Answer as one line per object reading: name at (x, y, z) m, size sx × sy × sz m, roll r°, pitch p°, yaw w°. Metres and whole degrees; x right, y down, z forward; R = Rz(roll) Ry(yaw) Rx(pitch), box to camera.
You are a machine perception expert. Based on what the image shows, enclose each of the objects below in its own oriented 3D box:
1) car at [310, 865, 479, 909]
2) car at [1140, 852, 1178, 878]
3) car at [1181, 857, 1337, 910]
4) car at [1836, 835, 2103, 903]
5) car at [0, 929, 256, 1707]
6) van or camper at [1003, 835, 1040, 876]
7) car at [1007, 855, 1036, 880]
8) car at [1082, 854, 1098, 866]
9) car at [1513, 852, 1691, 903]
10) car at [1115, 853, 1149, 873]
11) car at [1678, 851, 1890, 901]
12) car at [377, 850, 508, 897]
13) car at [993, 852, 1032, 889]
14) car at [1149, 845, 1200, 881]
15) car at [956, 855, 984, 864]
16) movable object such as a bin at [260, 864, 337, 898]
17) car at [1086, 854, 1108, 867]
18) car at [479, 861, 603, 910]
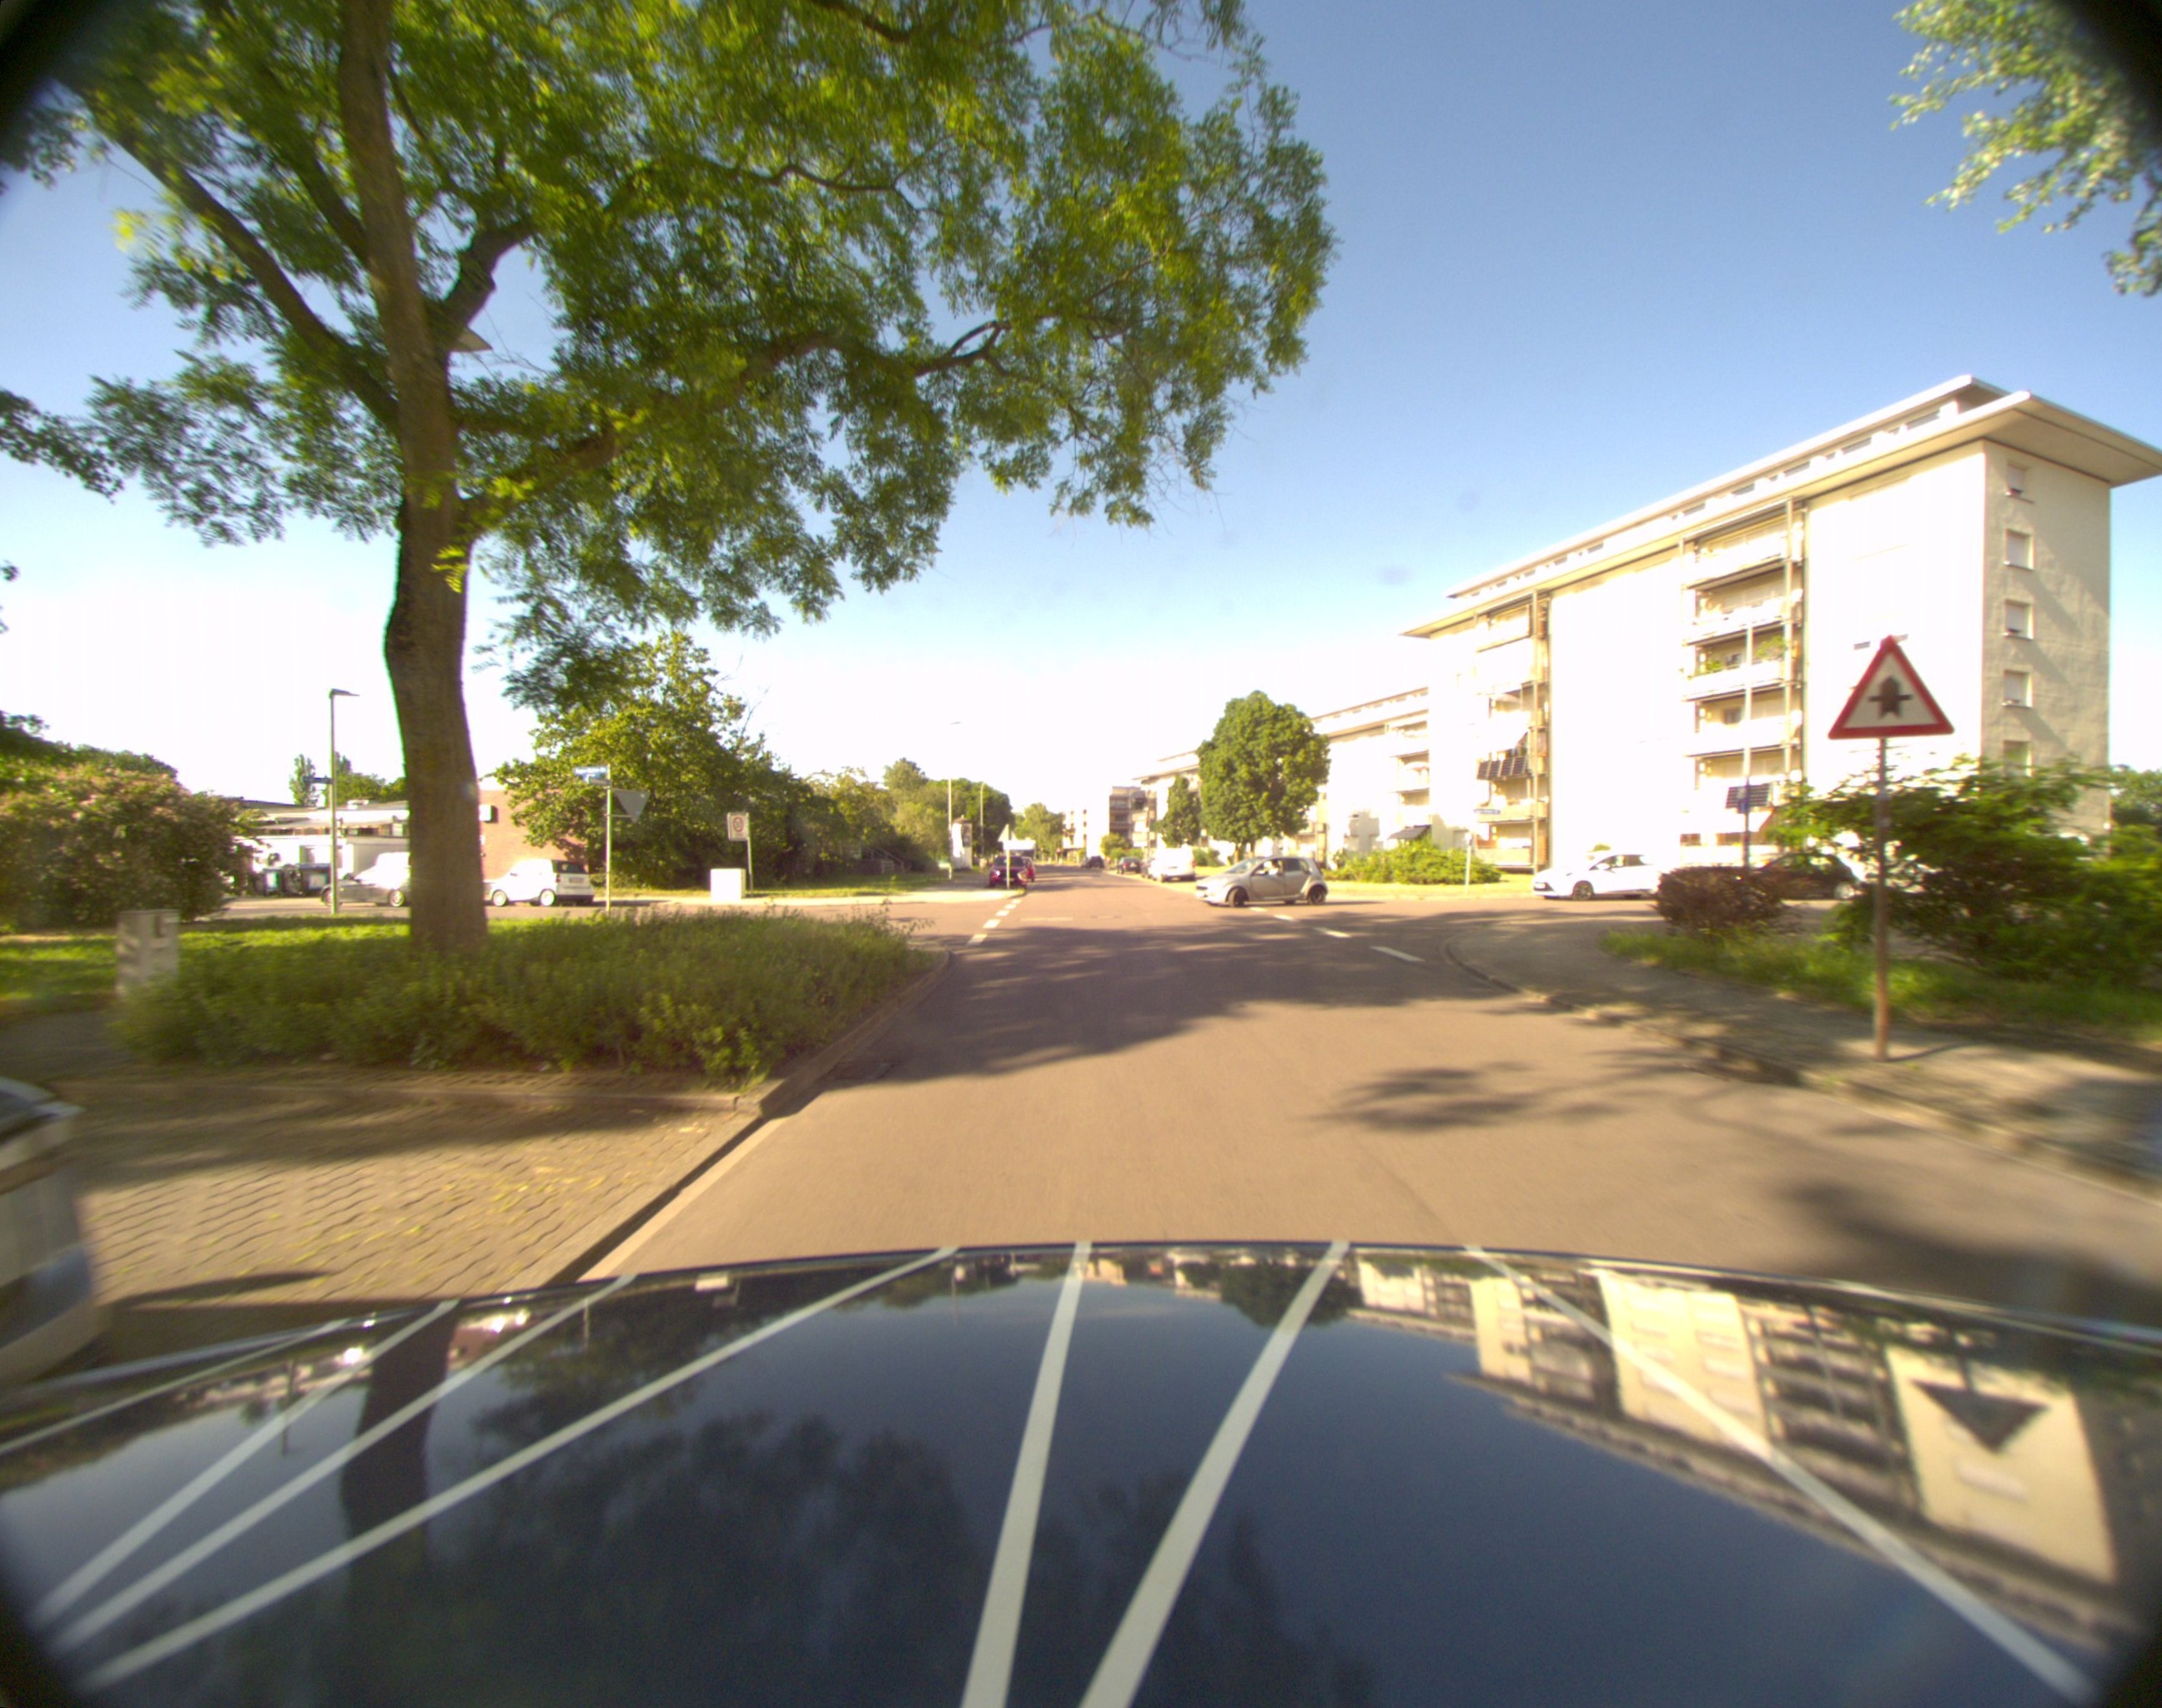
car at (-23.594, 1.114, 26.167) m, size 4.491 × 1.402 × 1.970 m, roll 0°, pitch 0°, yaw 11°
car at (5.047, 0.697, 49.874) m, size 1.838 × 1.509 × 4.220 m, roll -2°, pitch 1°, yaw -3°
car at (5.113, 0.809, 22.070) m, size 3.943 × 1.452 × 1.995 m, roll 0°, pitch 0°, yaw -13°
car at (26.392, 0.419, 22.761) m, size 5.116 × 1.939 × 2.238 m, roll 0°, pitch 0°, yaw 4°
car at (-4.539, 0.978, 0.928) m, size 4.794 × 1.540 × 2.011 m, roll 0°, pitch 0°, yaw -1°
van or camper at (-4.360, 0.083, 55.977) m, size 2.504 × 2.828 × 6.848 m, roll 0°, pitch 0°, yaw -4°
car at (-3.632, 0.821, 47.164) m, size 1.696 × 1.465 × 3.999 m, roll 0°, pitch 0°, yaw -3°
car at (1.129, 0.761, 98.063) m, size 1.651 × 1.458 × 4.328 m, roll -1°, pitch 0°, yaw -6°
car at (15.782, 0.682, 23.209) m, size 3.996 × 1.455 × 2.044 m, roll 0°, pitch 0°, yaw 3°
car at (4.188, 0.698, 63.129) m, size 2.040 × 1.484 × 5.254 m, roll -3°, pitch 0°, yaw -4°
car at (21.235, 0.638, 23.116) m, size 4.452 × 1.452 × 2.044 m, roll 0°, pitch 0°, yaw 3°
car at (-26.864, 0.787, 32.140) m, size 1.696 × 1.858 × 4.004 m, roll 0°, pitch 0°, yaw 12°
car at (-3.402, 0.779, 37.956) m, size 1.780 × 1.670 × 4.642 m, roll 2°, pitch 0°, yaw -5°
car at (5.301, 0.472, 43.814) m, size 2.020 × 1.875 × 5.189 m, roll -2°, pitch 1°, yaw -2°
car at (-17.988, 0.959, 123.208) m, size 4.438 × 1.329 × 1.746 m, roll -1°, pitch -1°, yaw -4°
movable object such as a bin at (-32.973, 1.132, 32.029) m, size 2.563 × 1.365 × 1.242 m, roll 0°, pitch 0°, yaw 18°
car at (1.874, 0.759, 91.823) m, size 1.920 × 1.594 × 4.808 m, roll 0°, pitch 0°, yaw -7°
car at (-17.711, 1.039, 25.005) m, size 2.959 × 1.553 × 1.703 m, roll 0°, pitch -3°, yaw 10°
